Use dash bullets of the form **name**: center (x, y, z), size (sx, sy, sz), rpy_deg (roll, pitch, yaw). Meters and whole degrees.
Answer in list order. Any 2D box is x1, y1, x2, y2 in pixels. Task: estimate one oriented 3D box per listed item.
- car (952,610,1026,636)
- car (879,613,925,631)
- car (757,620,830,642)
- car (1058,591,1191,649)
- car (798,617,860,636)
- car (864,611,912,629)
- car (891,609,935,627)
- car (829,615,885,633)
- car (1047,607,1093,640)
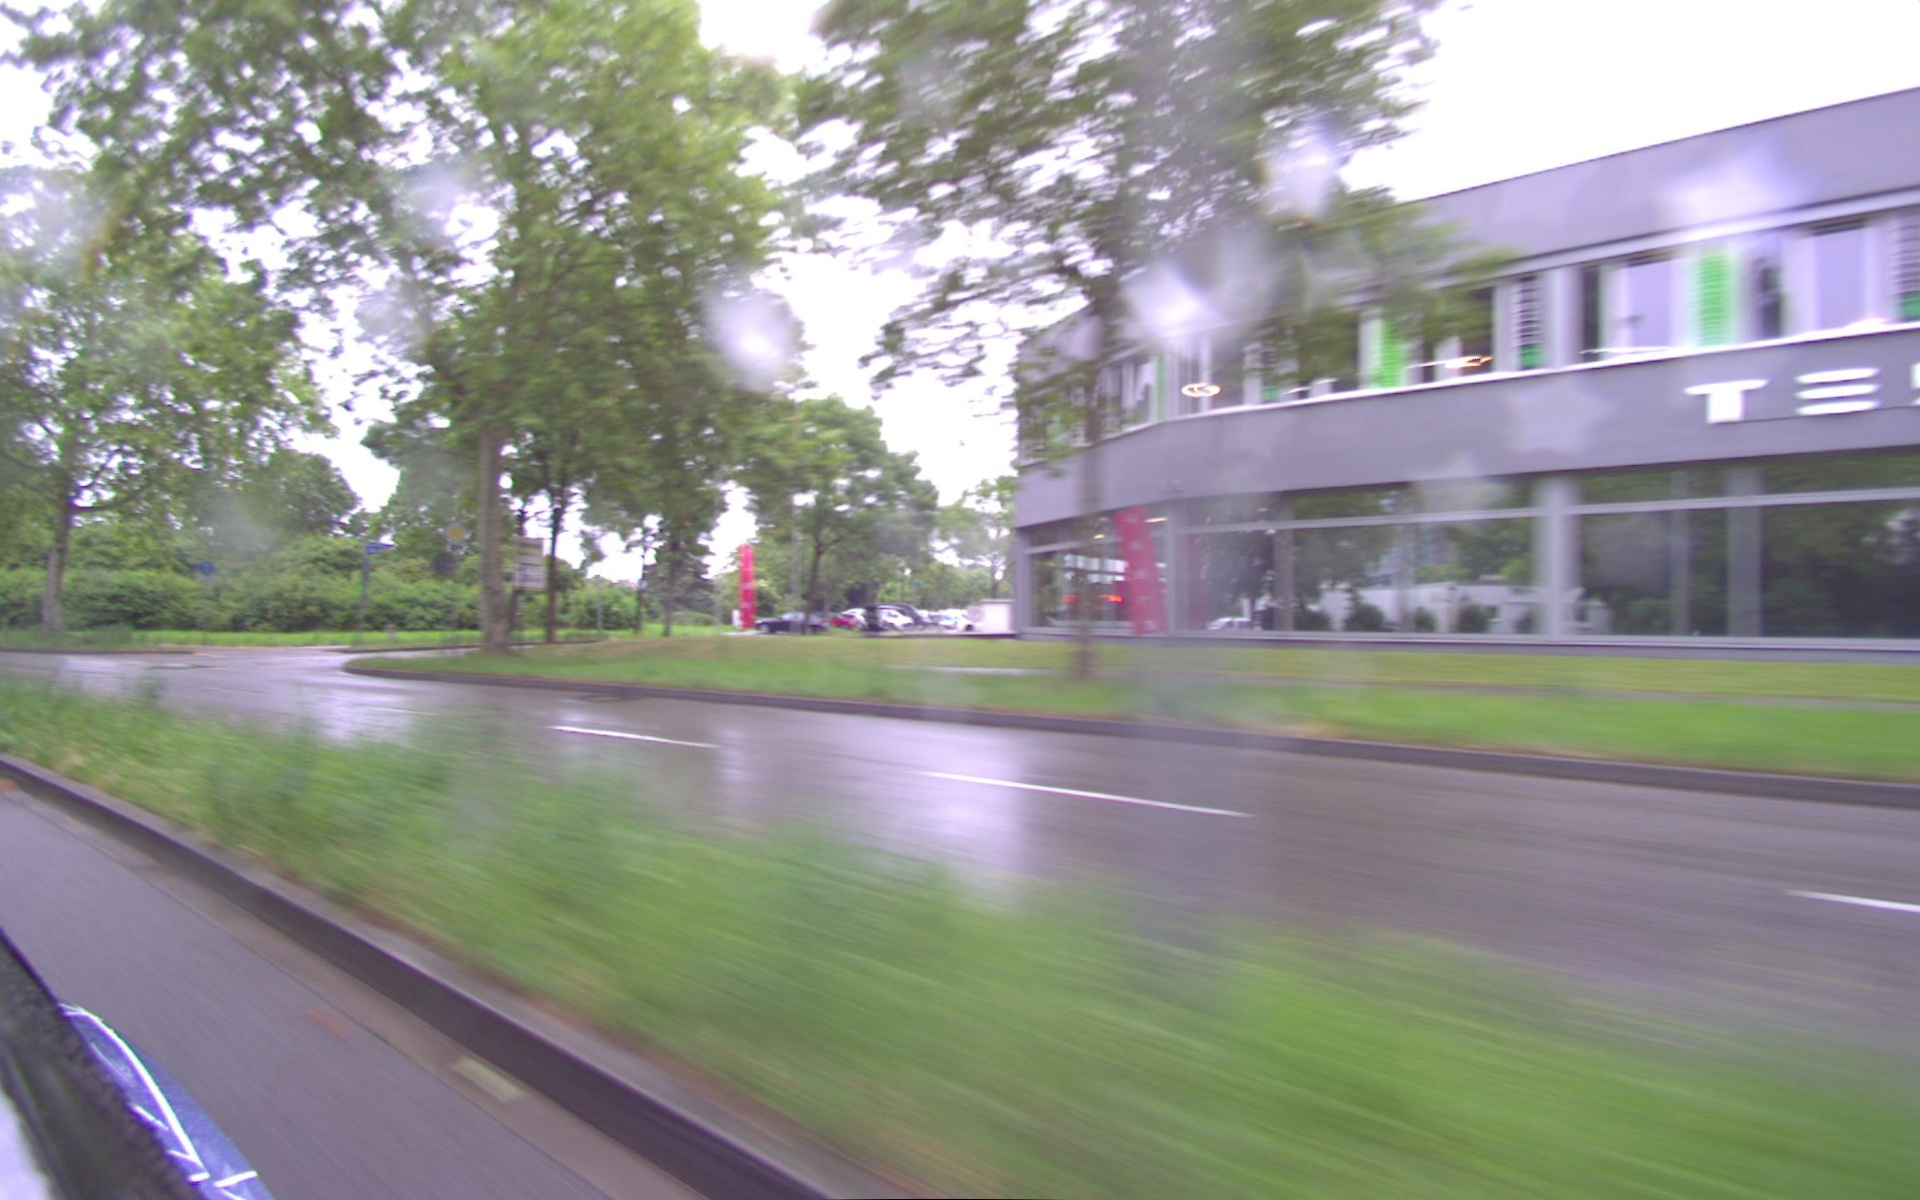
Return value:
- **car**: center (2.134, 1.660, 73.391), size (5.173, 1.878, 1.788), rpy_deg (0, -1, 10)
- **car**: center (-5.571, 2.112, 97.510), size (4.160, 1.758, 1.592), rpy_deg (0, -1, 11)
- **car**: center (-10.419, 1.937, 63.375), size (4.247, 1.368, 1.592), rpy_deg (0, -1, 11)
- **car**: center (4.682, 0.547, 28.444), size (1.599, 1.506, 4.143), rpy_deg (-1, -1, 45)
- **car**: center (-9.432, 1.890, 72.844), size (4.160, 1.368, 1.592), rpy_deg (0, -1, 11)
- **car**: center (-6.539, 1.805, 92.320), size (4.160, 1.640, 1.592), rpy_deg (0, -1, 11)
- **car**: center (-4.720, 1.840, 101.956), size (4.160, 1.758, 1.592), rpy_deg (0, -1, 11)
- **car**: center (-8.185, 1.895, 80.545), size (4.160, 1.368, 1.592), rpy_deg (0, -1, 11)
- **car**: center (5.329, 1.117, 48.580), size (1.583, 1.506, 4.184), rpy_deg (0, -1, 15)
